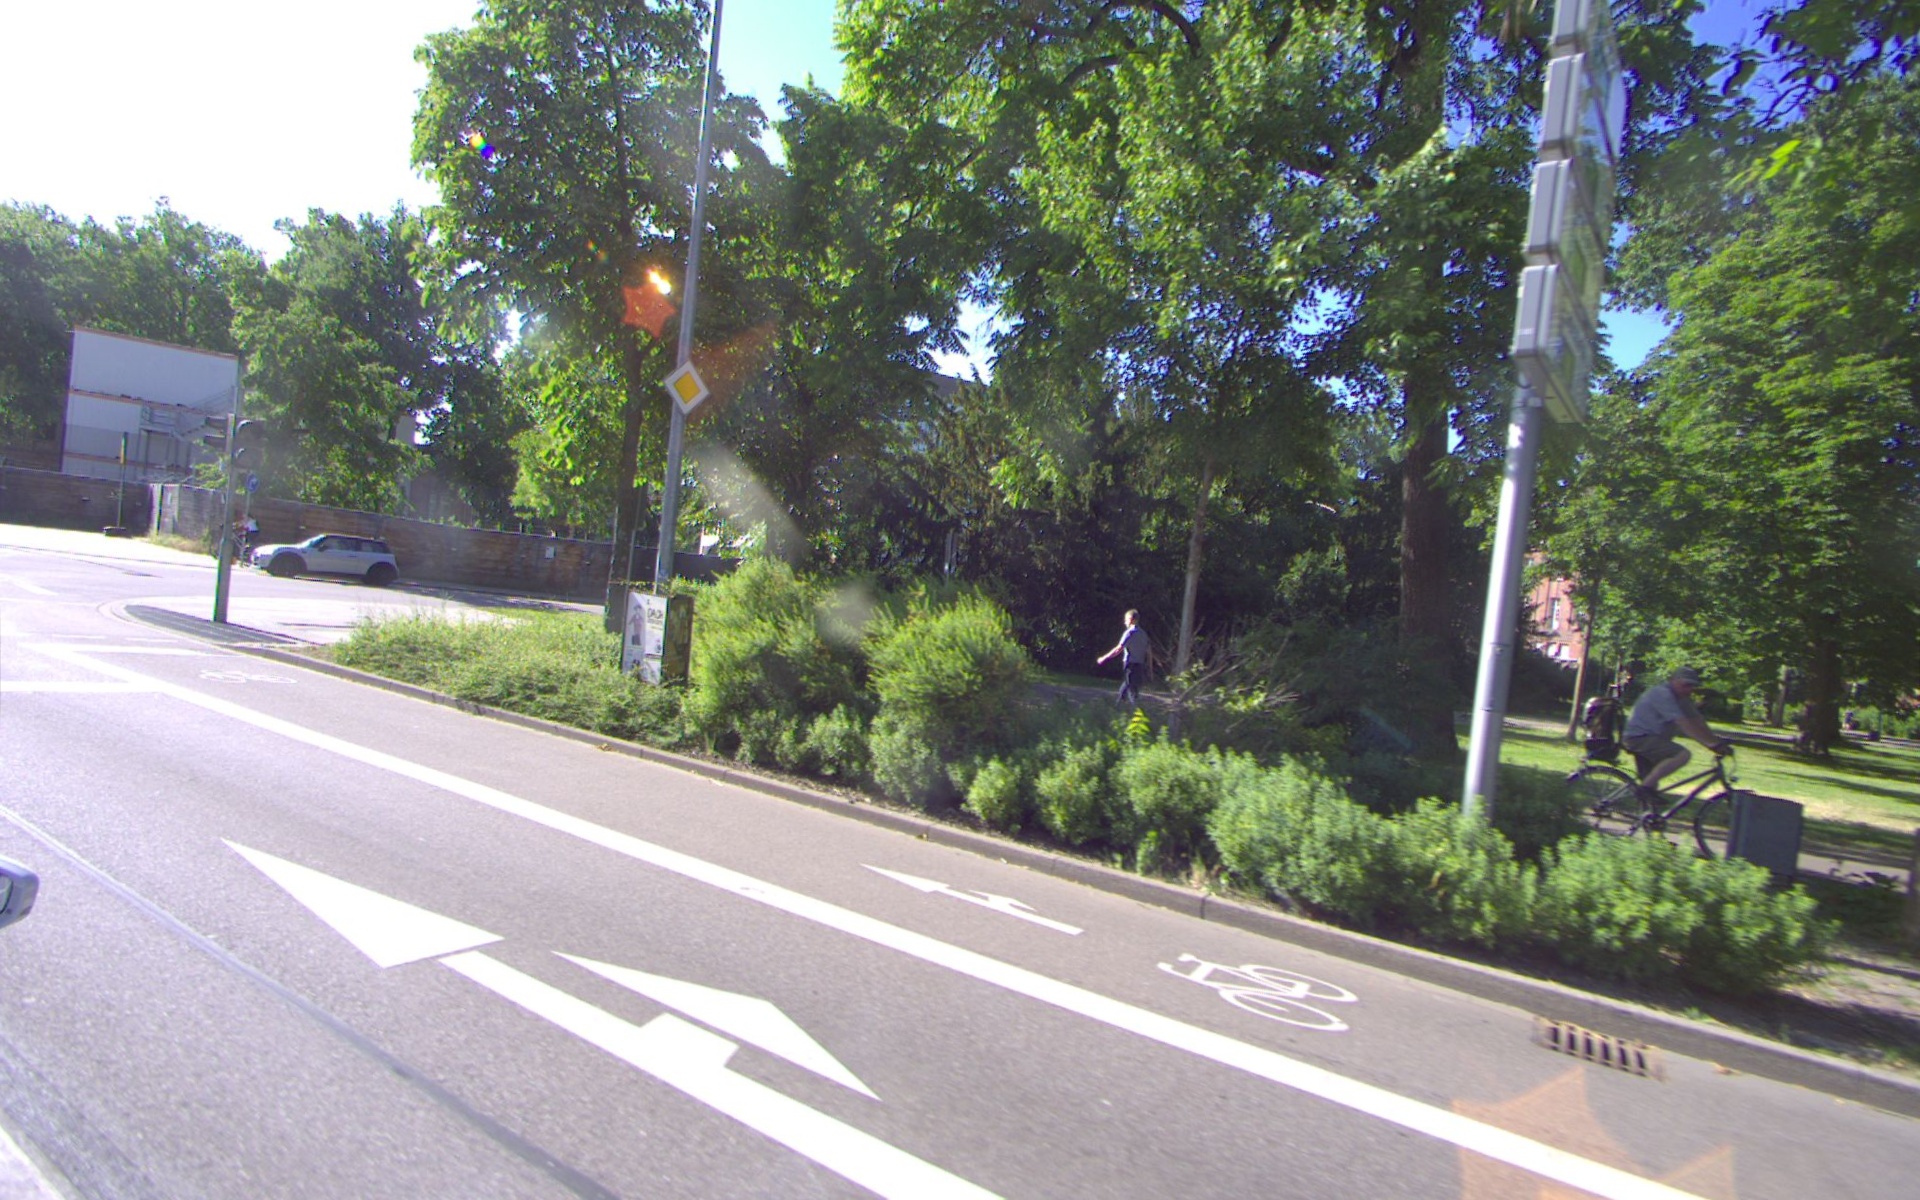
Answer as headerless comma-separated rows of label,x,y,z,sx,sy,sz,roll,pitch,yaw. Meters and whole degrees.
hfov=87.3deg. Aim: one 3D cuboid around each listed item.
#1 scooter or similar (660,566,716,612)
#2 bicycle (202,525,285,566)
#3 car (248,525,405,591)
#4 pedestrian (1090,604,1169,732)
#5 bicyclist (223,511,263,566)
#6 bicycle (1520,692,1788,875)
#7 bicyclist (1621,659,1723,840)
scooter or similar,-11.441,-0.456,42.356,2.056,1.704,0.571,7,0,-33
bicycle,-23.852,-1.811,33.530,0.595,1.127,2.113,7,2,40
car,-19.211,-1.254,30.575,3.688,1.453,1.751,8,-1,-43
pedestrian,2.456,0.974,14.694,0.859,1.723,0.738,7,0,2
bicyclist,-23.847,-2.053,33.466,0.733,1.695,0.848,7,2,40
bicycle,6.361,1.639,9.354,1.878,1.307,0.623,7,0,31
bicyclist,6.540,1.351,9.268,0.561,1.525,0.687,7,0,31
